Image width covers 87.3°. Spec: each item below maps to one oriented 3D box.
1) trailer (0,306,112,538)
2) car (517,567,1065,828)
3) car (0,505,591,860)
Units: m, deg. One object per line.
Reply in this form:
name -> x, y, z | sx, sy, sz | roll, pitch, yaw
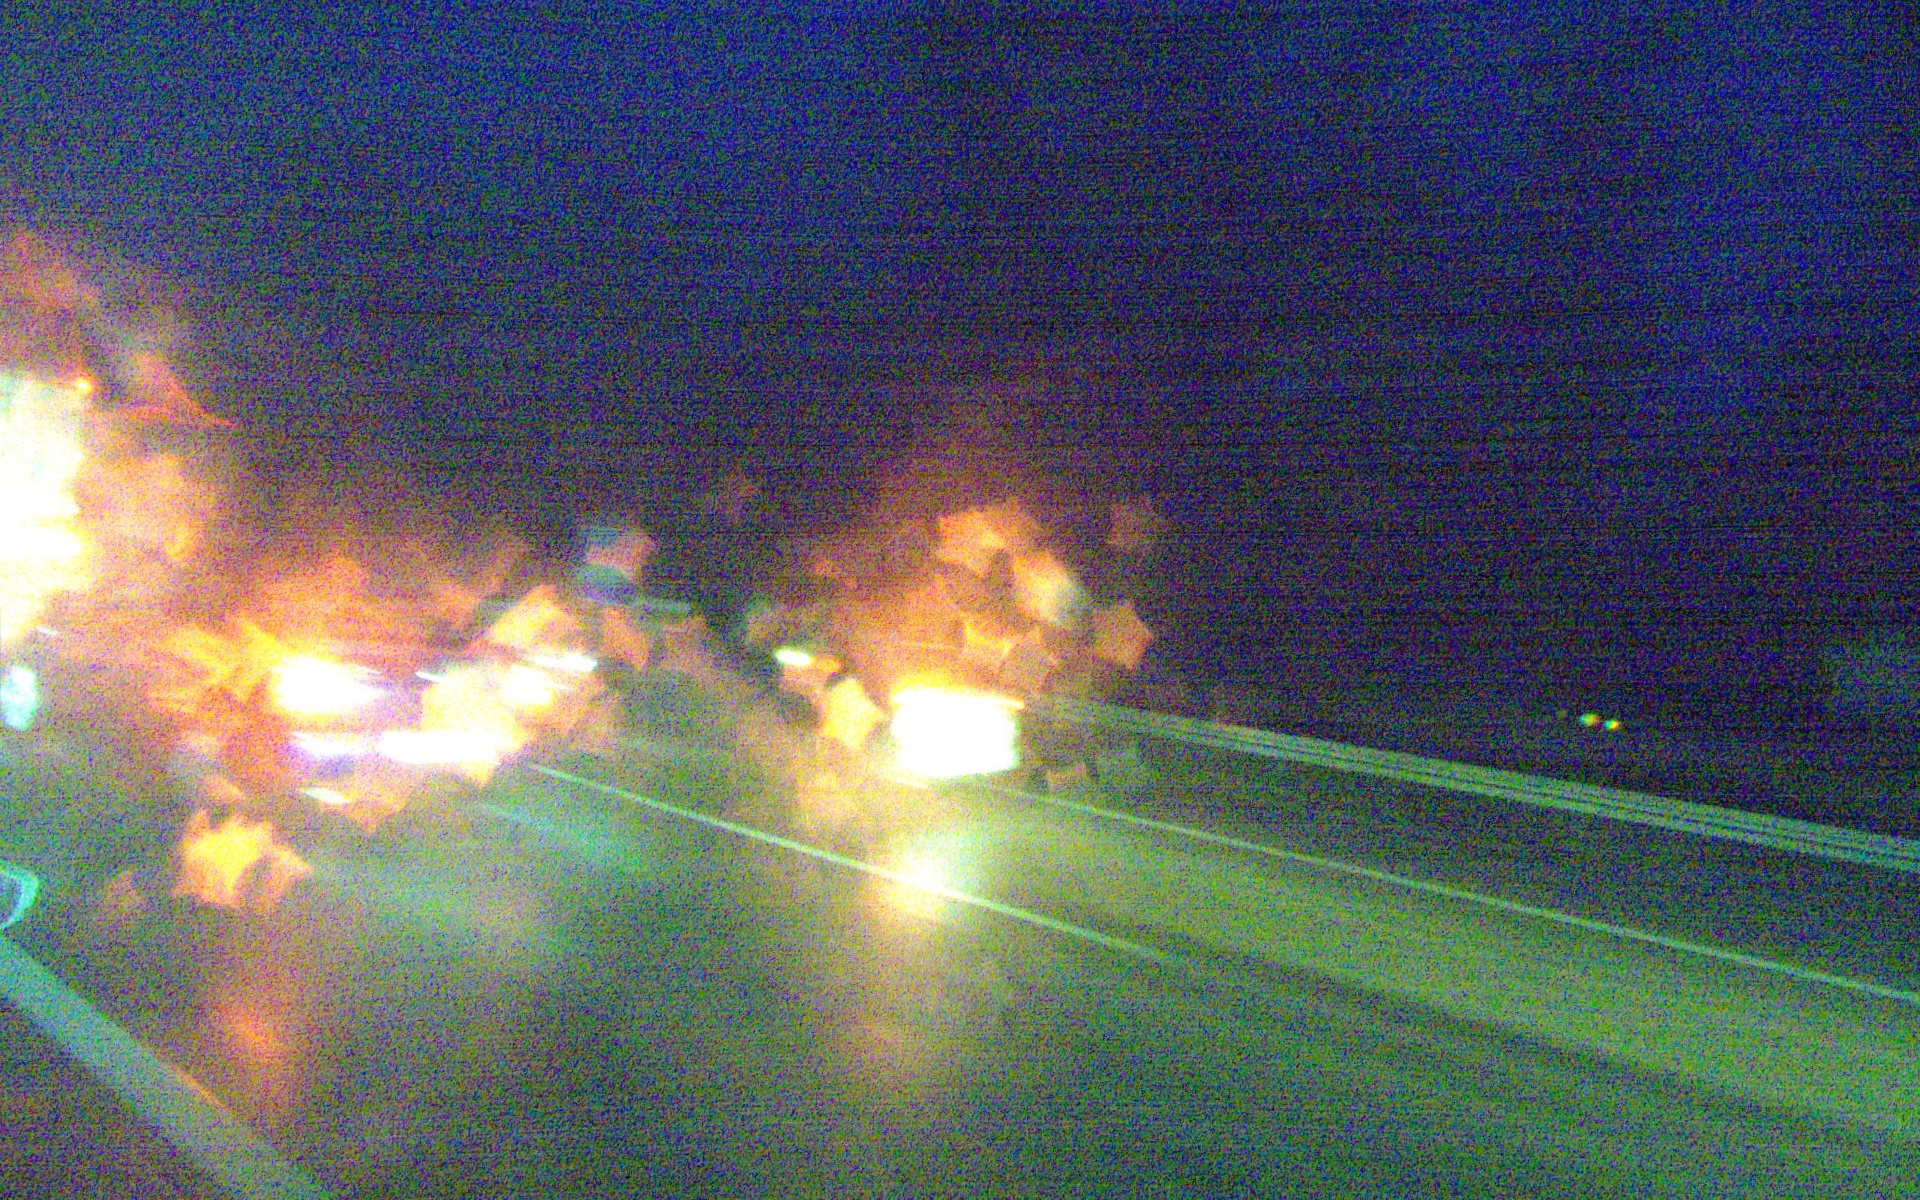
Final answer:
trailer -> -23.718, -4.112, 22.875 | 11.895, 4.261, 2.809 | 7, -1, 31
car -> -1.706, 0.773, 9.487 | 4.878, 1.503, 1.899 | 7, -2, 30
car -> -4.246, 0.352, 6.147 | 3.728, 1.429, 1.616 | 6, -2, 30
